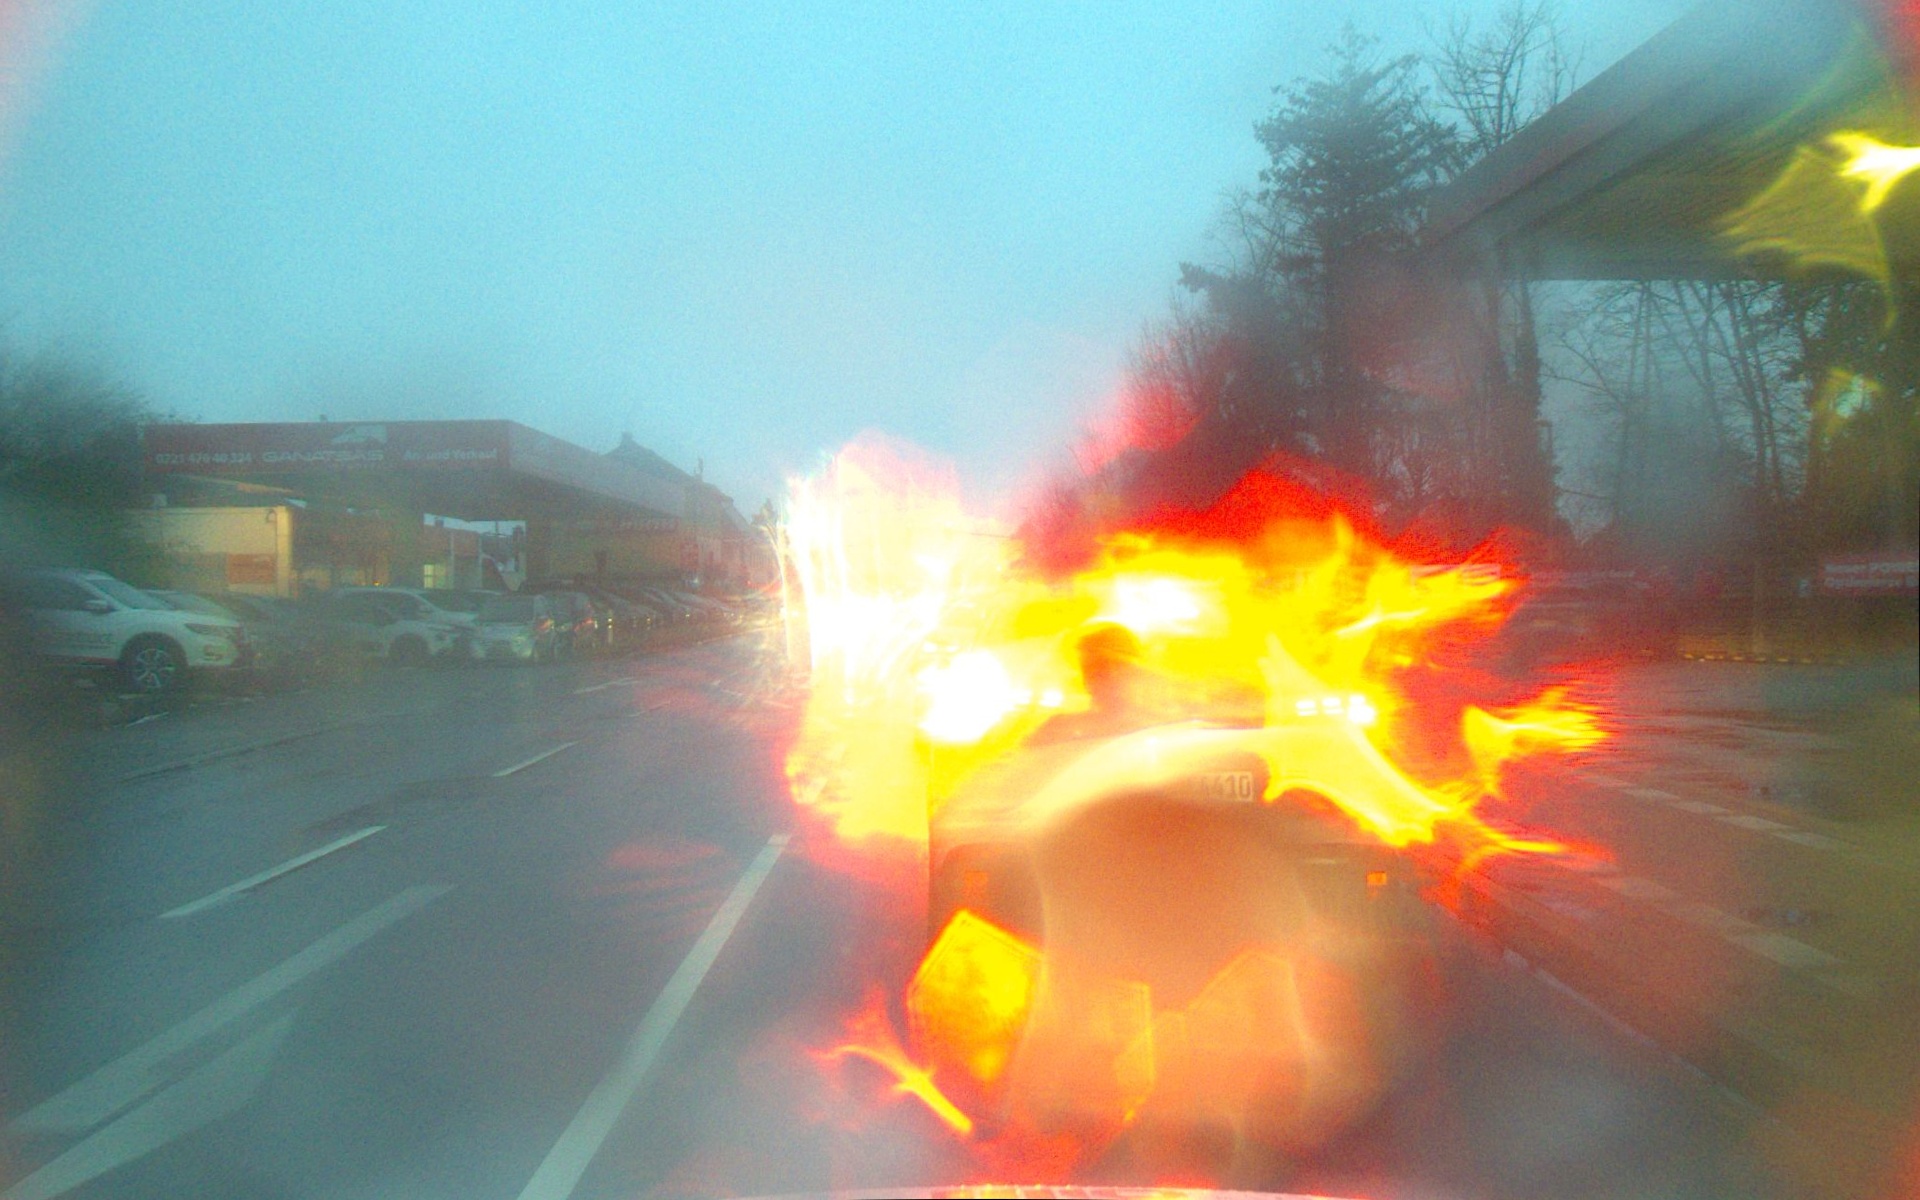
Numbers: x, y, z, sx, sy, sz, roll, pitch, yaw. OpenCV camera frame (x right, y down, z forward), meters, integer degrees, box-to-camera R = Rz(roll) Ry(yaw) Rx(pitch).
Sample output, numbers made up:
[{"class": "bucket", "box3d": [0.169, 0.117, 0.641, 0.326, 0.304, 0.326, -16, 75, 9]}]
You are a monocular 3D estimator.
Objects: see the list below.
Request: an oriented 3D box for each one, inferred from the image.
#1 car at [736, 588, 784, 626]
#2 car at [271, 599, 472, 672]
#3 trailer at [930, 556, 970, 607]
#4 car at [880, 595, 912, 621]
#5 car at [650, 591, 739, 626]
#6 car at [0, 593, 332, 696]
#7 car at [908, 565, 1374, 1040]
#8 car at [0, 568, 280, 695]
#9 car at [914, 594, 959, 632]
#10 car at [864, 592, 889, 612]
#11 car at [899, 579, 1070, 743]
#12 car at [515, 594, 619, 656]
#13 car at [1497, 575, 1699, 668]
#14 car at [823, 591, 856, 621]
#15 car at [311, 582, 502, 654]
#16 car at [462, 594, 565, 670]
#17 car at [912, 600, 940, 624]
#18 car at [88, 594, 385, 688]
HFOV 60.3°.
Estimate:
[{"class": "car", "box3d": [-10.257, 0.329, 84.918, 1.930, 1.862, 4.512, -2, 0, -1]}, {"class": "car", "box3d": [-12.607, 0.742, 35.620, 3.697, 1.485, 1.775, 1, 0, -4]}, {"class": "trailer", "box3d": [-0.739, -1.202, 112.124, 2.437, 3.297, 10.865, 0, 0, -2]}, {"class": "car", "box3d": [-4.299, 0.515, 110.509, 2.007, 1.600, 4.699, -2, 0, -4]}, {"class": "car", "box3d": [-13.532, 0.432, 84.385, 4.190, 1.655, 2.000, 2, 0, -1]}, {"class": "car", "box3d": [-12.322, 0.663, 25.812, 4.246, 1.524, 1.995, 0, 0, 1]}, {"class": "car", "box3d": [0.578, 0.656, 7.443, 1.533, 1.556, 4.006, 0, 0, -1]}, {"class": "car", "box3d": [-12.256, 0.422, 23.418, 4.446, 1.706, 2.008, 0, 0, -5]}, {"class": "car", "box3d": [-0.860, 0.458, 60.959, 1.619, 1.359, 4.271, 0, 0, -1]}, {"class": "car", "box3d": [-7.746, 0.176, 153.611, 1.952, 1.777, 4.001, -2, 0, 2]}, {"class": "car", "box3d": [0.221, 0.586, 18.577, 1.673, 1.603, 4.463, -1, 0, -1]}, {"class": "car", "box3d": [-9.738, 0.592, 41.259, 1.648, 1.445, 3.741, -1, 0, 1]}, {"class": "car", "box3d": [12.232, 0.368, 31.570, 1.986, 1.636, 4.450, -1, 0, 45]}, {"class": "car", "box3d": [-6.697, 0.301, 92.137, 1.571, 1.561, 3.999, -2, 0, -2]}, {"class": "car", "box3d": [-13.461, 0.428, 40.376, 3.964, 1.679, 1.942, -1, 0, 1]}, {"class": "car", "box3d": [-9.899, 0.682, 36.872, 1.487, 1.570, 3.014, -2, 0, -1]}, {"class": "car", "box3d": [-2.068, 0.717, 100.997, 1.628, 1.464, 4.380, 0, 0, -1]}, {"class": "car", "box3d": [-12.245, 0.666, 28.194, 4.247, 1.524, 1.825, 0, 0, -1]}]
